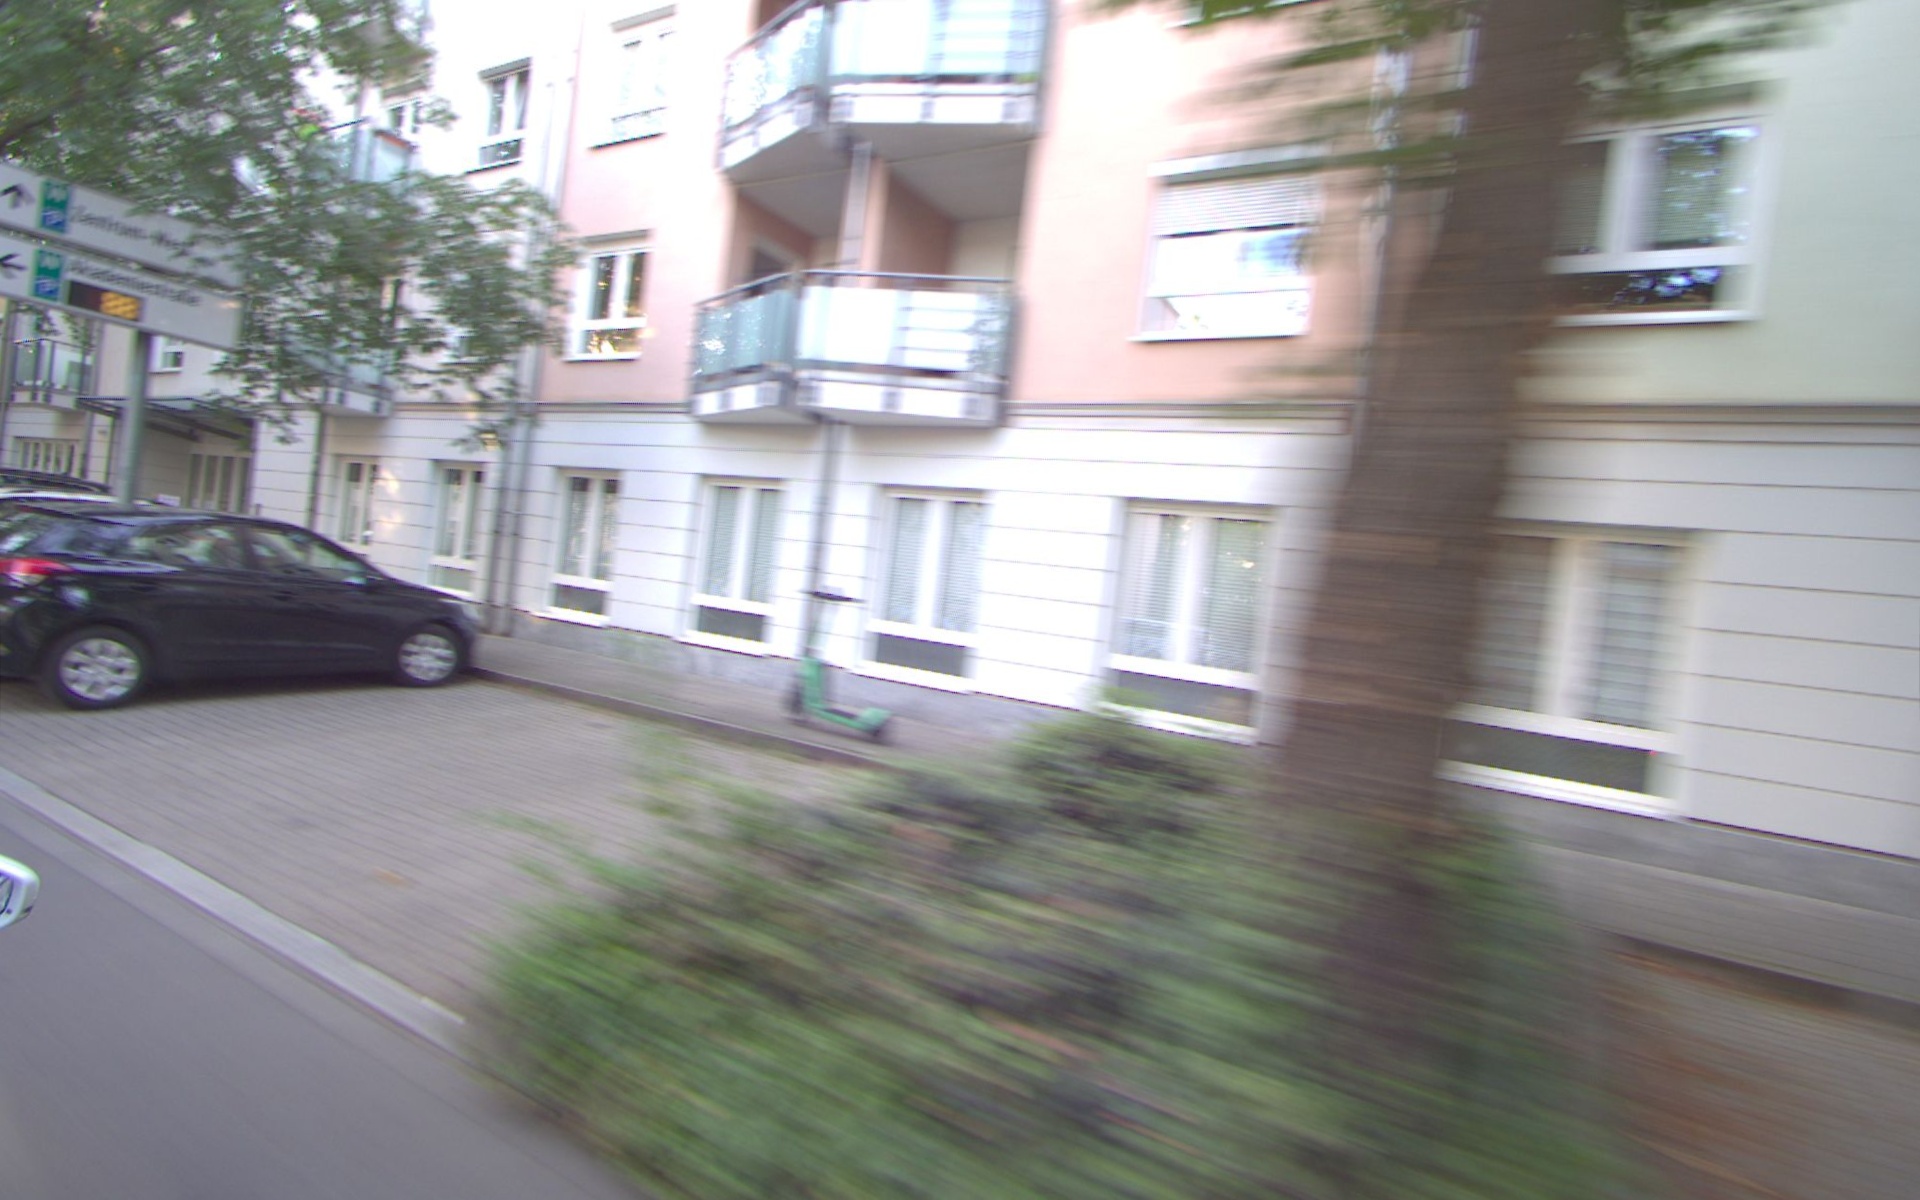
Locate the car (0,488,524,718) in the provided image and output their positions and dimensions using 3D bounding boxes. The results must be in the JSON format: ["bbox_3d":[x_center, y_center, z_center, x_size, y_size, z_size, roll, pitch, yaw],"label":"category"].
[{"bbox_3d":[-6.184,-0.031,8.720,1.900,1.471,4.087,7,2,26],"label":"car"}]

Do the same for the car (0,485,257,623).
[{"bbox_3d":[-11.242,-0.587,11.756,1.766,1.488,4.601,7,2,31],"label":"car"}]

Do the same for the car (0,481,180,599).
[{"bbox_3d":[-13.247,-0.878,13.308,1.898,1.458,4.221,7,3,33],"label":"car"}]

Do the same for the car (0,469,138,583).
[{"bbox_3d":[-15.328,-1.218,14.748,1.975,1.639,4.645,7,3,28],"label":"car"}]

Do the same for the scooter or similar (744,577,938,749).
[{"bbox_3d":[-1.014,0.496,8.506,1.430,1.219,0.655,7,3,29],"label":"scooter or similar"}]
